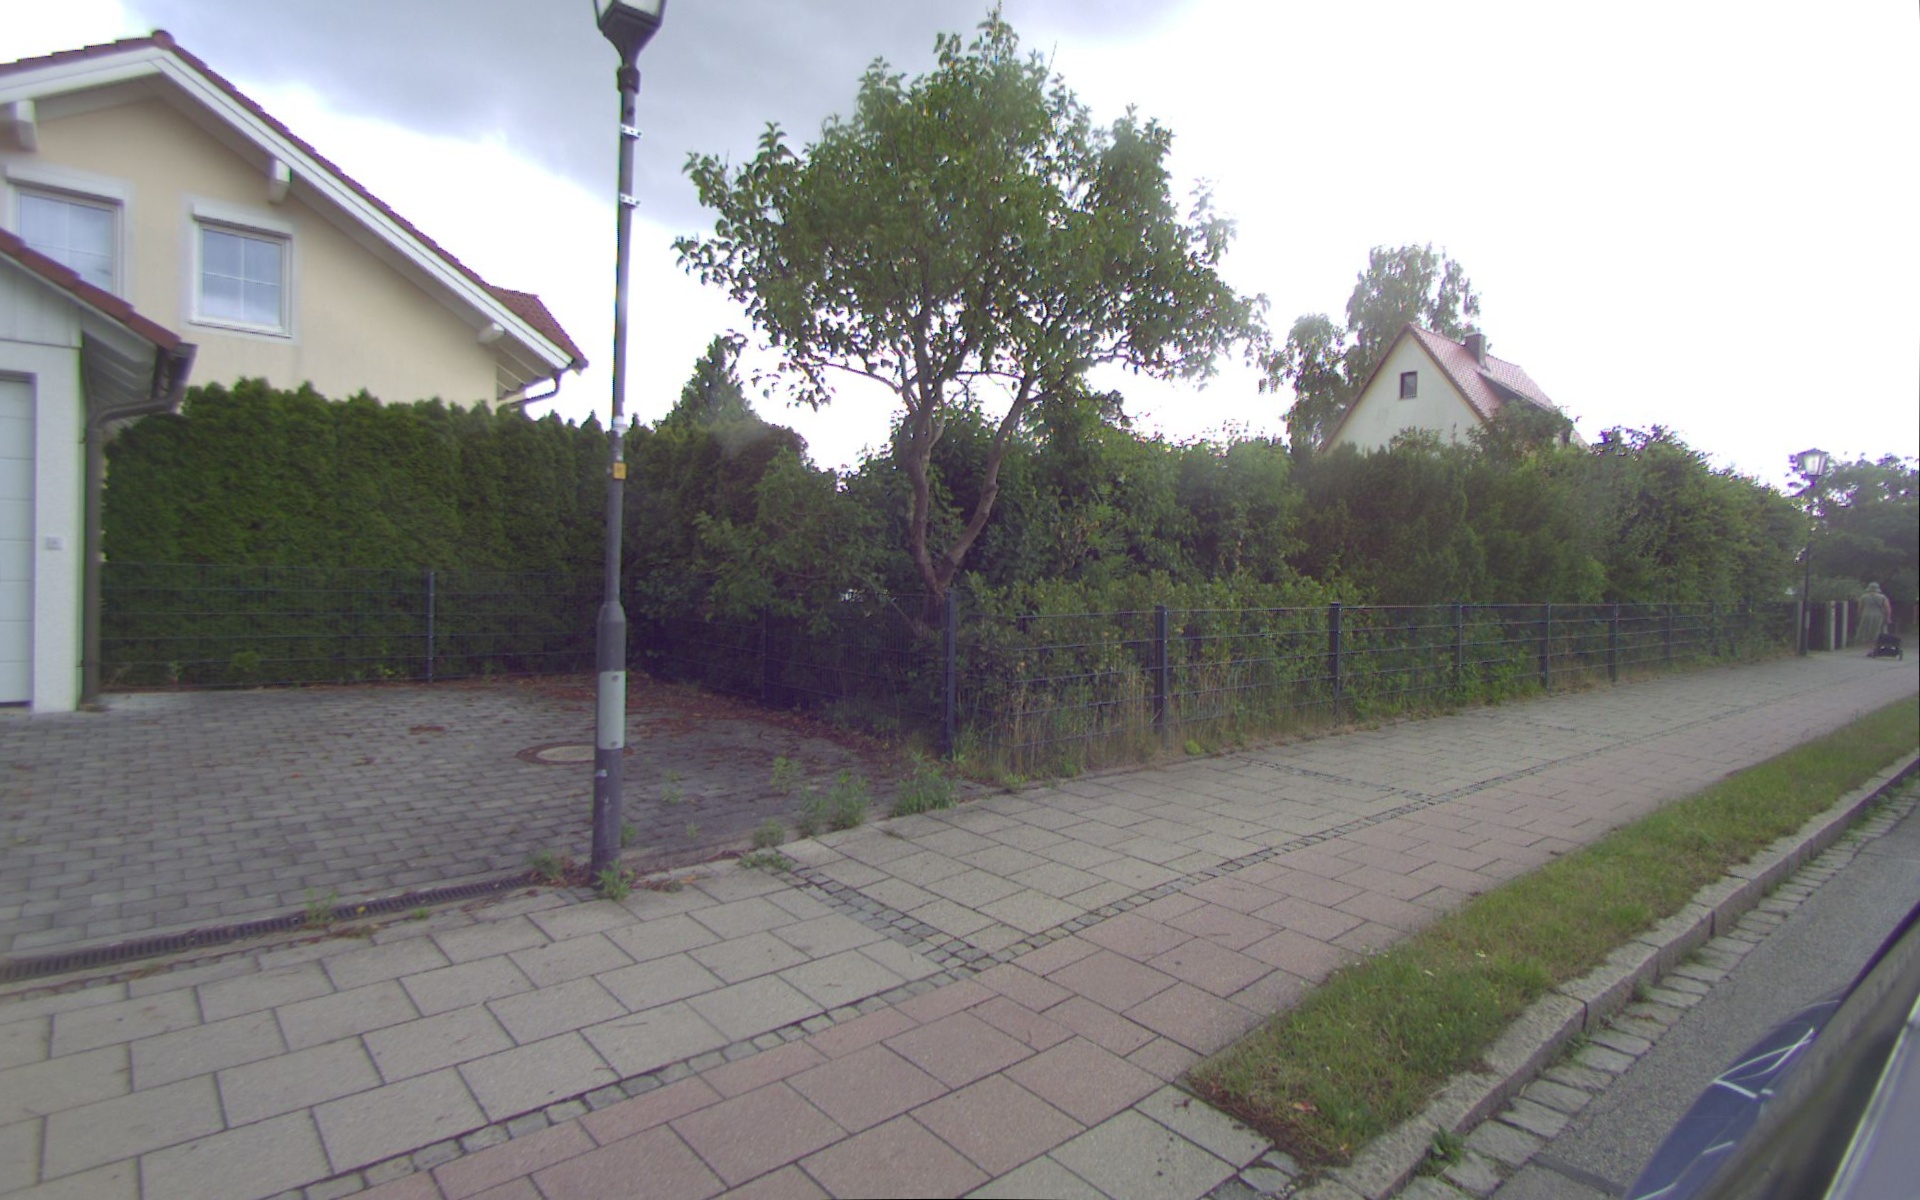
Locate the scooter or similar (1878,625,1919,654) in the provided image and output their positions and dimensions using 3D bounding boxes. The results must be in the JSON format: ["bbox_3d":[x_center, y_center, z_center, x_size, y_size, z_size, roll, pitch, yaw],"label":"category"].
[{"bbox_3d":[19.809,0.834,21.321,0.615,0.563,0.732,1,1,36],"label":"scooter or similar"}]

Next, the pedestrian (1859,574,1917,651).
[{"bbox_3d":[20.135,0.255,21.964,0.789,1.621,0.662,3,2,37],"label":"pedestrian"}]
